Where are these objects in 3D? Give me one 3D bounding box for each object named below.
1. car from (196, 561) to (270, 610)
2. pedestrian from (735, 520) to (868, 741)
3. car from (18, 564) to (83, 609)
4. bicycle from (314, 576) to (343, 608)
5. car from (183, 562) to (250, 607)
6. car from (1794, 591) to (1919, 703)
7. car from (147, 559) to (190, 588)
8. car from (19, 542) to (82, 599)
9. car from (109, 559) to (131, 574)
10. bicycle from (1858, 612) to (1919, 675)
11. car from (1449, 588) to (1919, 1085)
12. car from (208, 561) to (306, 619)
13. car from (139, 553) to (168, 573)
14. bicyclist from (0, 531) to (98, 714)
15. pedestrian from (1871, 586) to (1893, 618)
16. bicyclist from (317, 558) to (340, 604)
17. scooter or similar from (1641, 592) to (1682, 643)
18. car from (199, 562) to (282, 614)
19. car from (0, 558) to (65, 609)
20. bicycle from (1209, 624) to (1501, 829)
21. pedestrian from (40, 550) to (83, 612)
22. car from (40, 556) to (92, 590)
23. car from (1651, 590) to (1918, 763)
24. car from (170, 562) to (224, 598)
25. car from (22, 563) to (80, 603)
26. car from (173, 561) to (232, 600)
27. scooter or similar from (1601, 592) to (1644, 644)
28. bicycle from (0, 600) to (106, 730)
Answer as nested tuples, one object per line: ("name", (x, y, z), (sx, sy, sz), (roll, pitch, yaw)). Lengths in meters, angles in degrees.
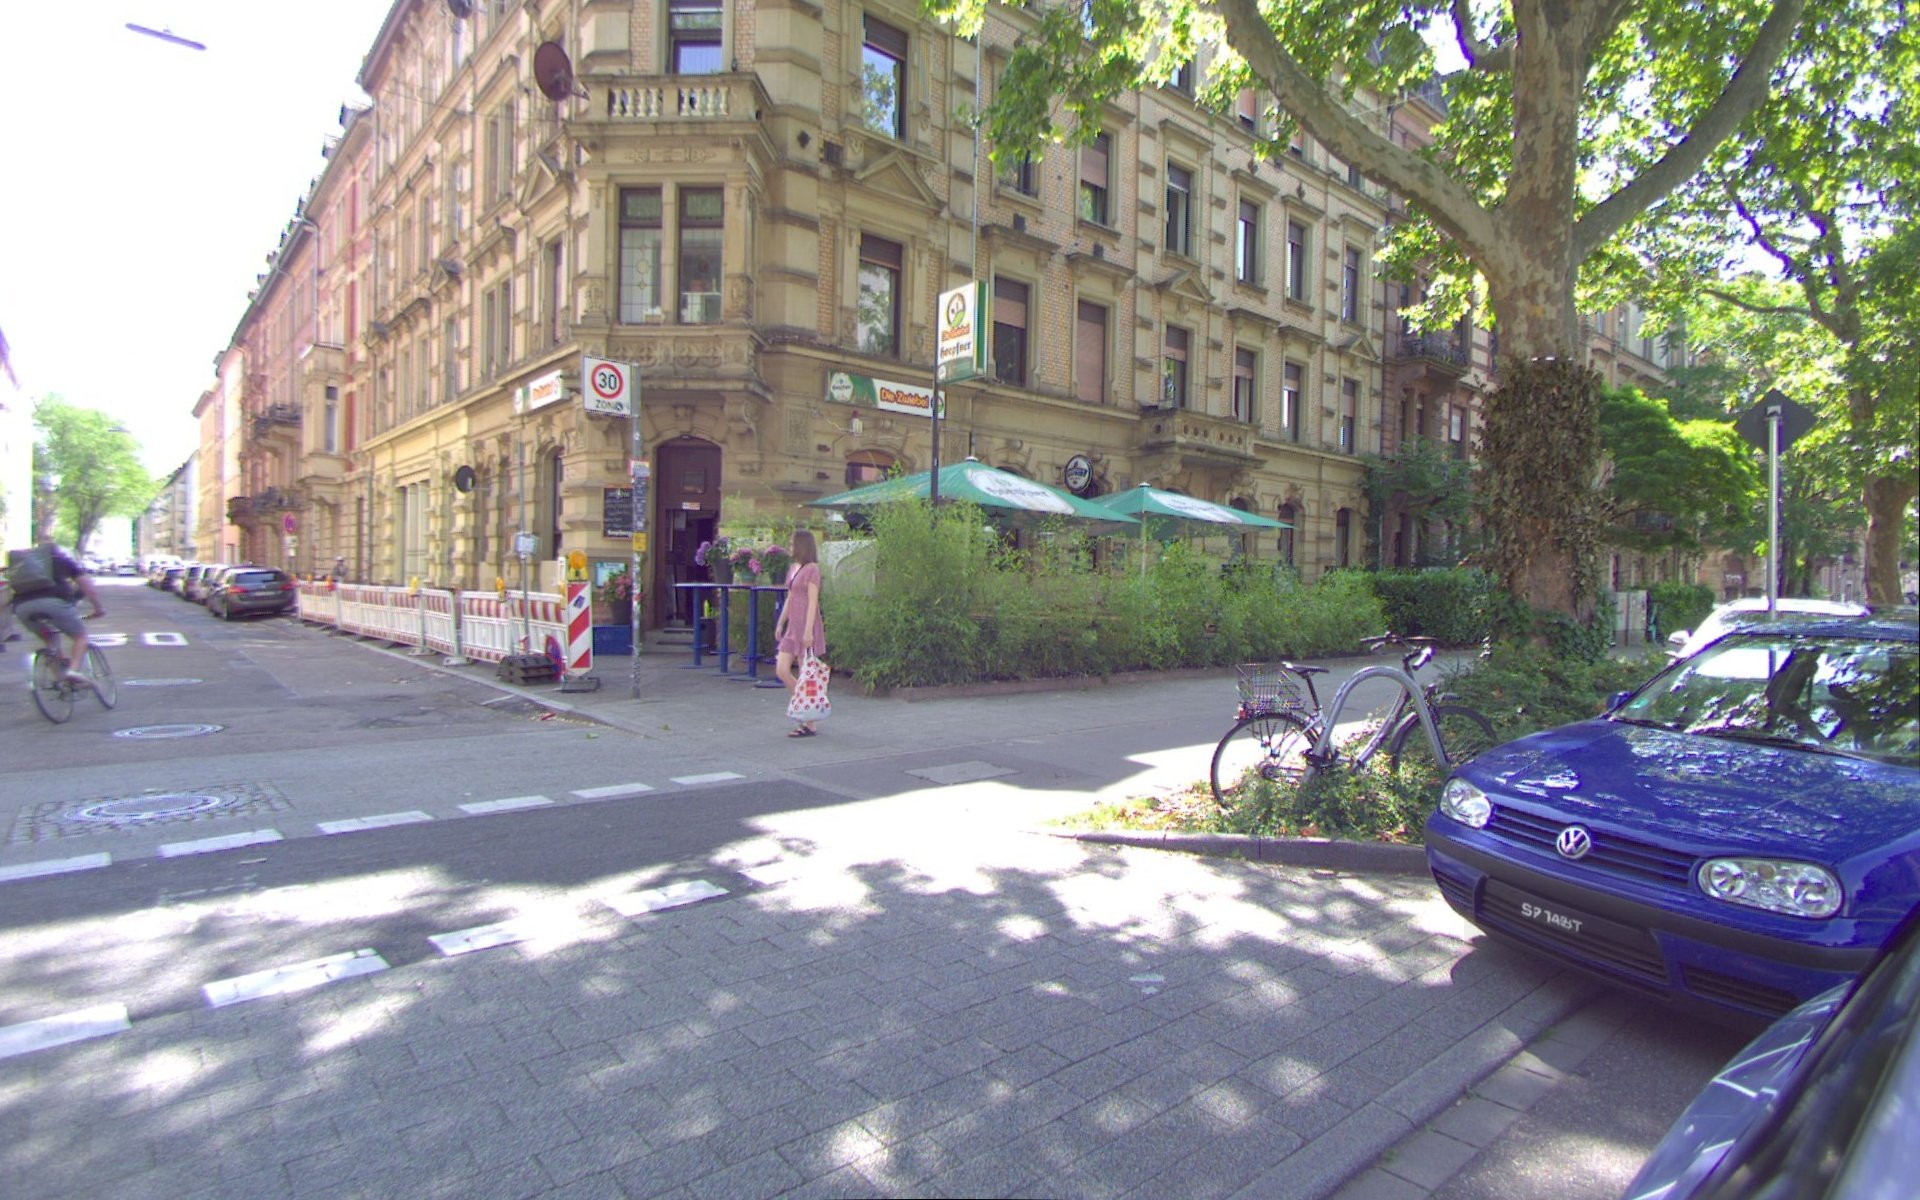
("car", (-27.565, -0.583, 38.319), (1.965, 1.760, 3.995), (0, 2, -41))
("pedestrian", (-1.385, 0.229, 8.840), (0.837, 1.807, 0.737), (0, 3, -41))
("car", (-33.269, -0.529, 37.082), (1.698, 1.548, 3.489), (0, 1, -42))
("bicycle", (-20.484, -0.268, 32.809), (0.530, 0.991, 1.307), (0, 1, -44))
("car", (-31.243, -0.680, 42.481), (1.965, 1.760, 3.995), (0, 2, -41))
("car", (14.870, 0.661, 15.972), (4.561, 1.527, 1.837), (0, 2, -40))
("car", (-50.223, -1.665, 64.179), (1.965, 1.760, 3.995), (0, 2, -41))
("car", (-40.632, -1.321, 45.289), (1.879, 2.403, 4.244), (0, 1, -39))
("car", (-98.777, -3.925, 119.019), (1.965, 1.760, 3.995), (0, 1, -41))
("bicycle", (17.613, 0.810, 18.566), (1.615, 1.102, 0.469), (2, 1, 17))
("car", (4.364, 0.699, 4.389), (4.008, 1.427, 1.892), (0, 1, -24))
("car", (-20.645, -0.340, 29.663), (1.965, 1.571, 3.995), (0, 2, -41))
("car", (-75.003, -3.410, 94.108), (1.965, 1.760, 3.995), (0, 1, -41))
("bicyclist", (-8.589, 0.193, 9.544), (0.613, 1.643, 0.695), (1, 1, -35))
("pedestrian", (51.022, 0.126, 55.999), (0.951, 1.740, 0.796), (0, 1, -41))
("bicyclist", (-20.489, -0.628, 32.833), (0.524, 1.471, 0.460), (0, 1, -43))
("scooter or similar", (18.708, 0.454, 26.975), (1.124, 1.298, 0.583), (0, 1, -39))
("car", (-24.563, -0.449, 34.493), (1.965, 1.660, 3.995), (0, 2, -41))
("car", (-29.946, -0.547, 32.580), (1.698, 1.548, 3.490), (0, 1, -41))
("bicycle", (2.314, 0.719, 5.956), (1.583, 1.119, 0.423), (1, 1, -10))
("pedestrian", (-26.662, -0.568, 30.024), (0.921, 1.821, 1.036), (0, 1, -44))
("car", (-47.773, -1.453, 54.123), (1.879, 1.731, 4.158), (0, 1, -39))
("car", (9.437, 0.686, 11.442), (4.418, 1.527, 1.835), (0, 2, -44))
("car", (-38.914, -1.034, 51.571), (1.965, 1.760, 3.995), (0, 2, -41))
("car", (-37.258, -0.710, 41.543), (1.698, 1.548, 3.490), (0, 1, -41))
("car", (-35.482, -0.927, 47.358), (1.965, 1.760, 3.995), (0, 2, -41))
("scooter or similar", (16.586, 0.438, 25.343), (1.124, 1.263, 0.583), (0, 1, -40))
("bicycle", (-8.601, 0.561, 9.639), (0.522, 1.062, 1.926), (0, 1, -35))
